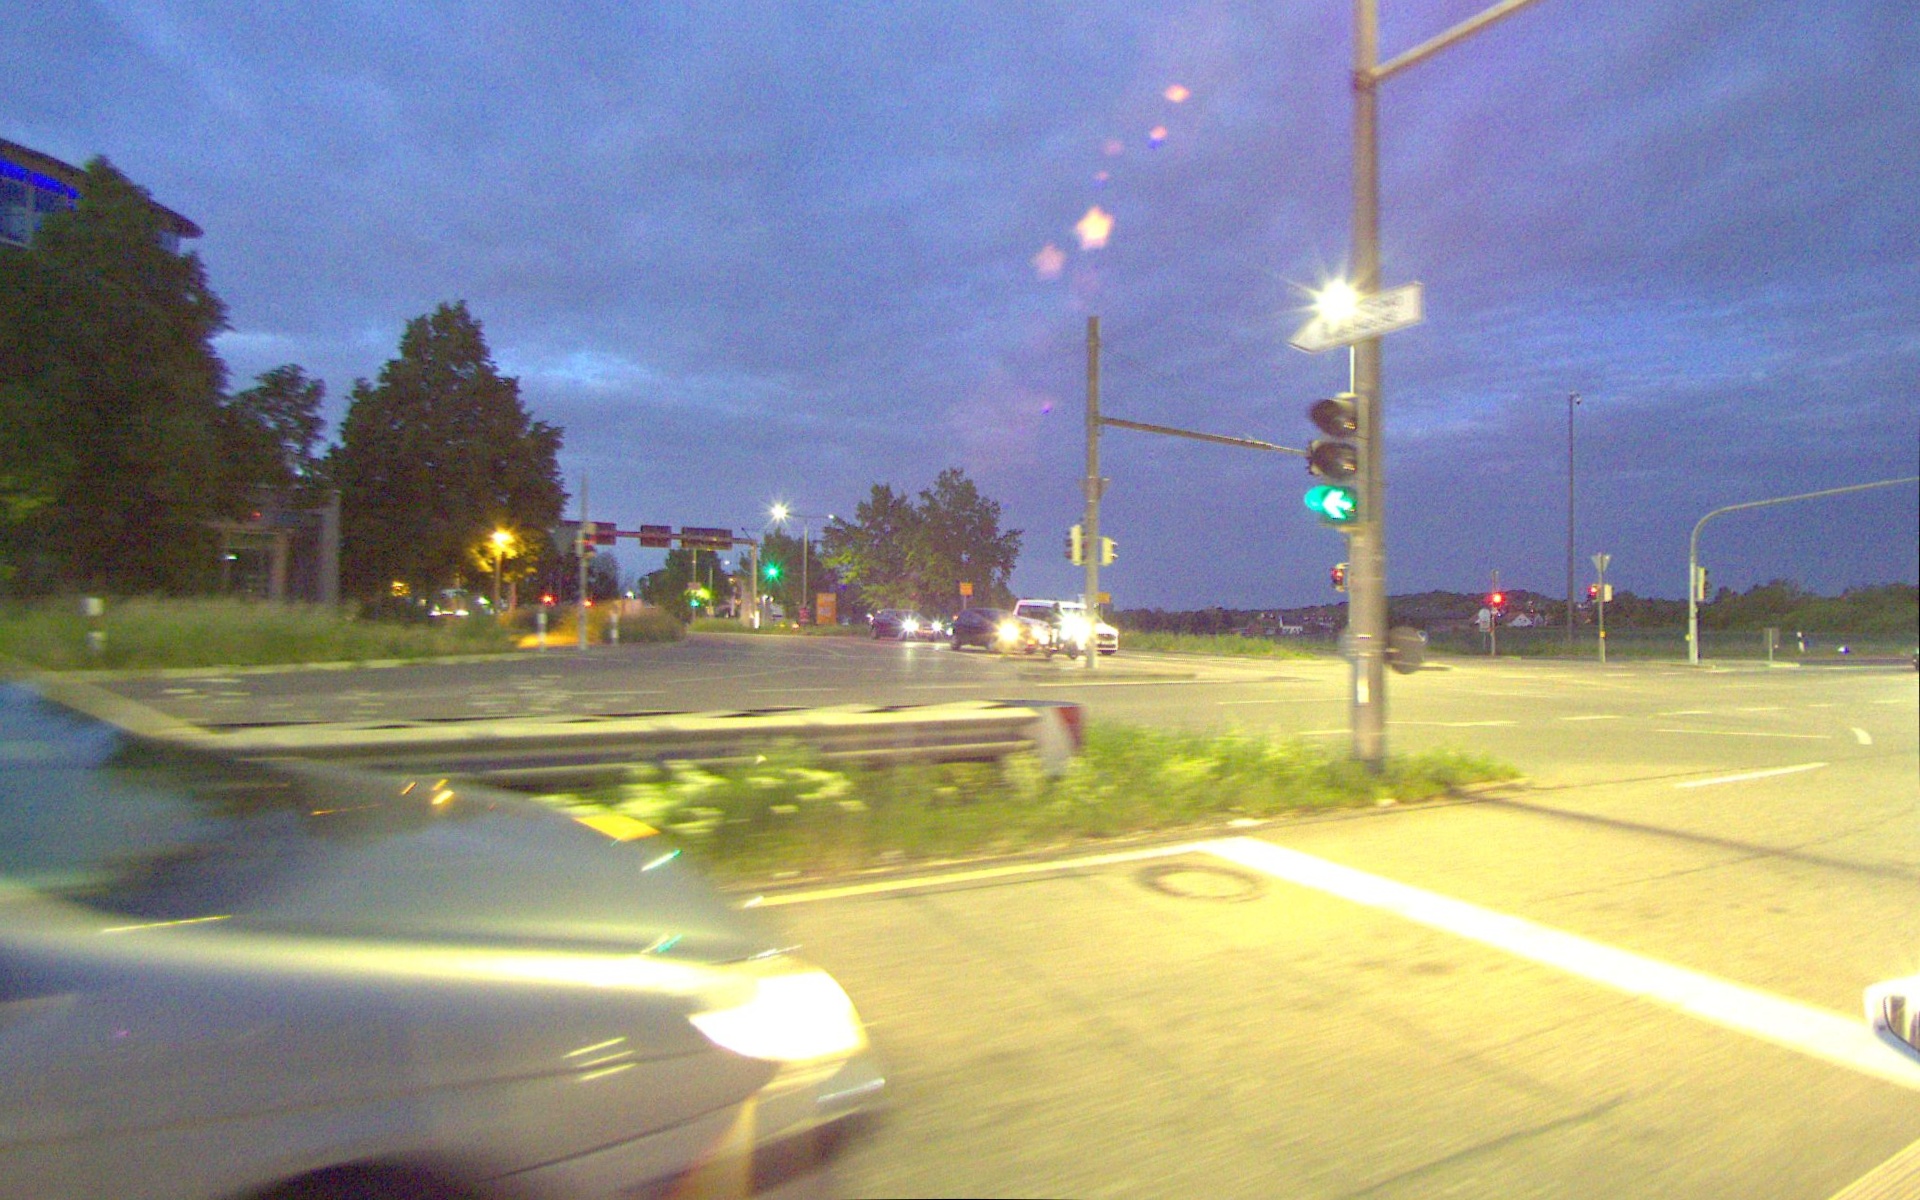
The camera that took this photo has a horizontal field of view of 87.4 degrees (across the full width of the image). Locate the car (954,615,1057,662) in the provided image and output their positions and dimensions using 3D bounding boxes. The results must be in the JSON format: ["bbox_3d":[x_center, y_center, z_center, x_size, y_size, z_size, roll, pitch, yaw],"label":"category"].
[{"bbox_3d":[1.474,1.287,34.068,1.754,1.466,3.751,2,-1,-29],"label":"car"}]

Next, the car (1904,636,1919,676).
[{"bbox_3d":[37.407,2.108,37.542,4.236,1.465,1.774,1,0,-27],"label":"car"}]

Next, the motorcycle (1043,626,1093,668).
[{"bbox_3d":[3.256,1.409,30.493,0.664,1.179,1.797,1,-1,-25],"label":"motorcycle"}]

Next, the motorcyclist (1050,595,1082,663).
[{"bbox_3d":[3.223,0.892,30.591,0.628,2.040,0.763,1,0,-25],"label":"motorcyclist"}]

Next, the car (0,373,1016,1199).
[{"bbox_3d":[-2.213,0.547,1.418,4.359,1.675,1.658,2,0,-30],"label":"car"}]

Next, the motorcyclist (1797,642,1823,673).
[{"bbox_3d":[51.756,3.510,61.158,0.862,1.831,0.908,5,-8,-35],"label":"motorcyclist"}]

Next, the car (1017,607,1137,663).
[{"bbox_3d":[4.082,1.203,35.816,1.827,1.838,4.737,2,-1,-29],"label":"car"}]

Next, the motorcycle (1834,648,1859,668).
[{"bbox_3d":[55.943,3.666,63.380,1.806,1.196,0.841,5,-7,-38],"label":"motorcycle"}]

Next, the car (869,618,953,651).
[{"bbox_3d":[-2.342,1.575,46.530,1.856,1.416,4.798,2,-2,-31],"label":"car"}]

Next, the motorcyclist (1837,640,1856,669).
[{"bbox_3d":[55.925,3.455,63.389,0.783,1.781,0.677,5,-7,-38],"label":"motorcyclist"}]
